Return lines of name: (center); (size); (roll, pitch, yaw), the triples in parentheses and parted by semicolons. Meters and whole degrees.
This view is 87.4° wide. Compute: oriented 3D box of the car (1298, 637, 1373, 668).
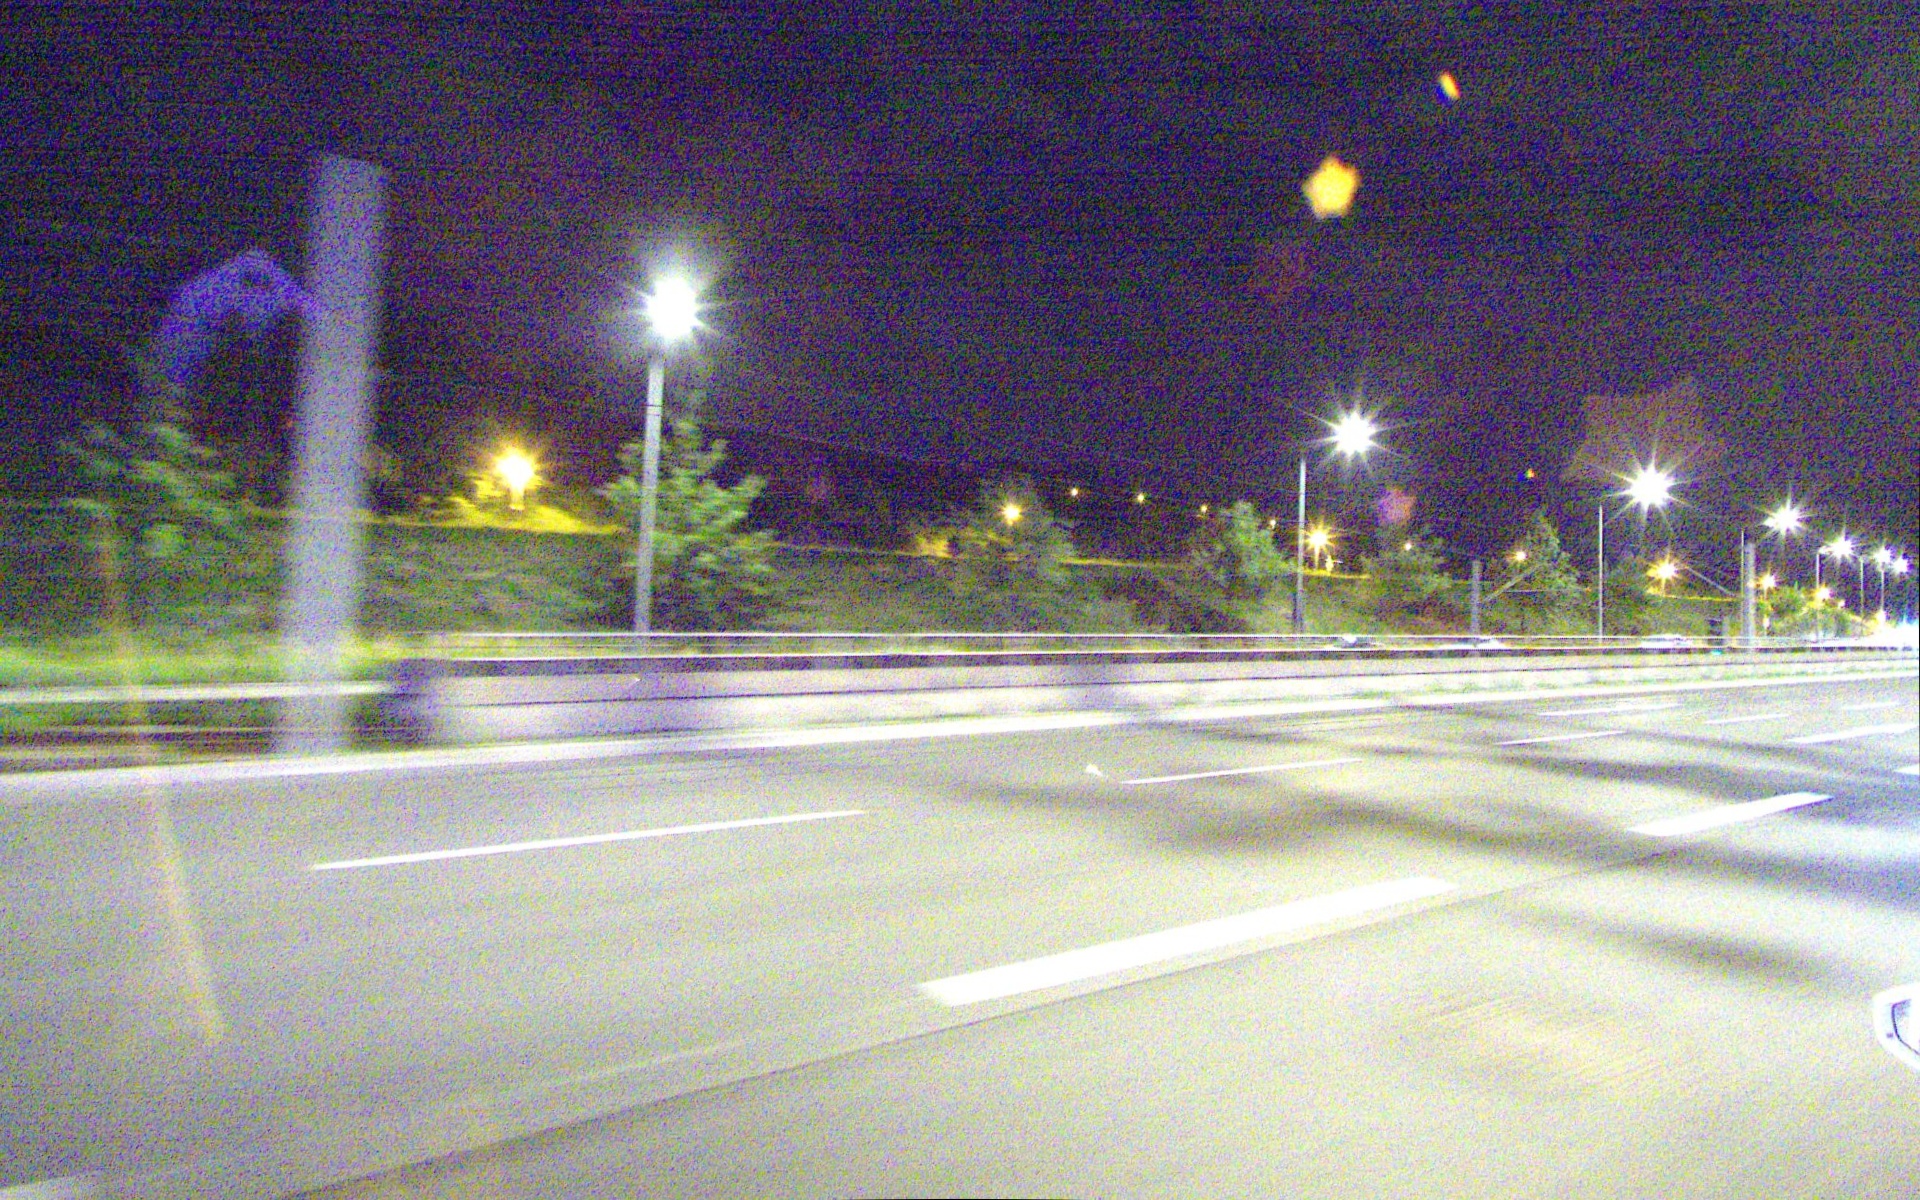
car: (17.401, 2.426, 46.496); (3.355, 1.286, 1.519); (4, -1, -33)

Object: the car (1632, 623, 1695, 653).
car: (42.468, 2.310, 60.613); (3.958, 1.717, 1.789); (2, -1, -34)

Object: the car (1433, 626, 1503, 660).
car: (28.316, 2.393, 55.972); (3.960, 1.707, 1.819); (4, -1, -35)

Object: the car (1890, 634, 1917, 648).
car: (117.076, 5.083, 124.615); (3.640, 1.500, 1.616); (4, -1, -33)
